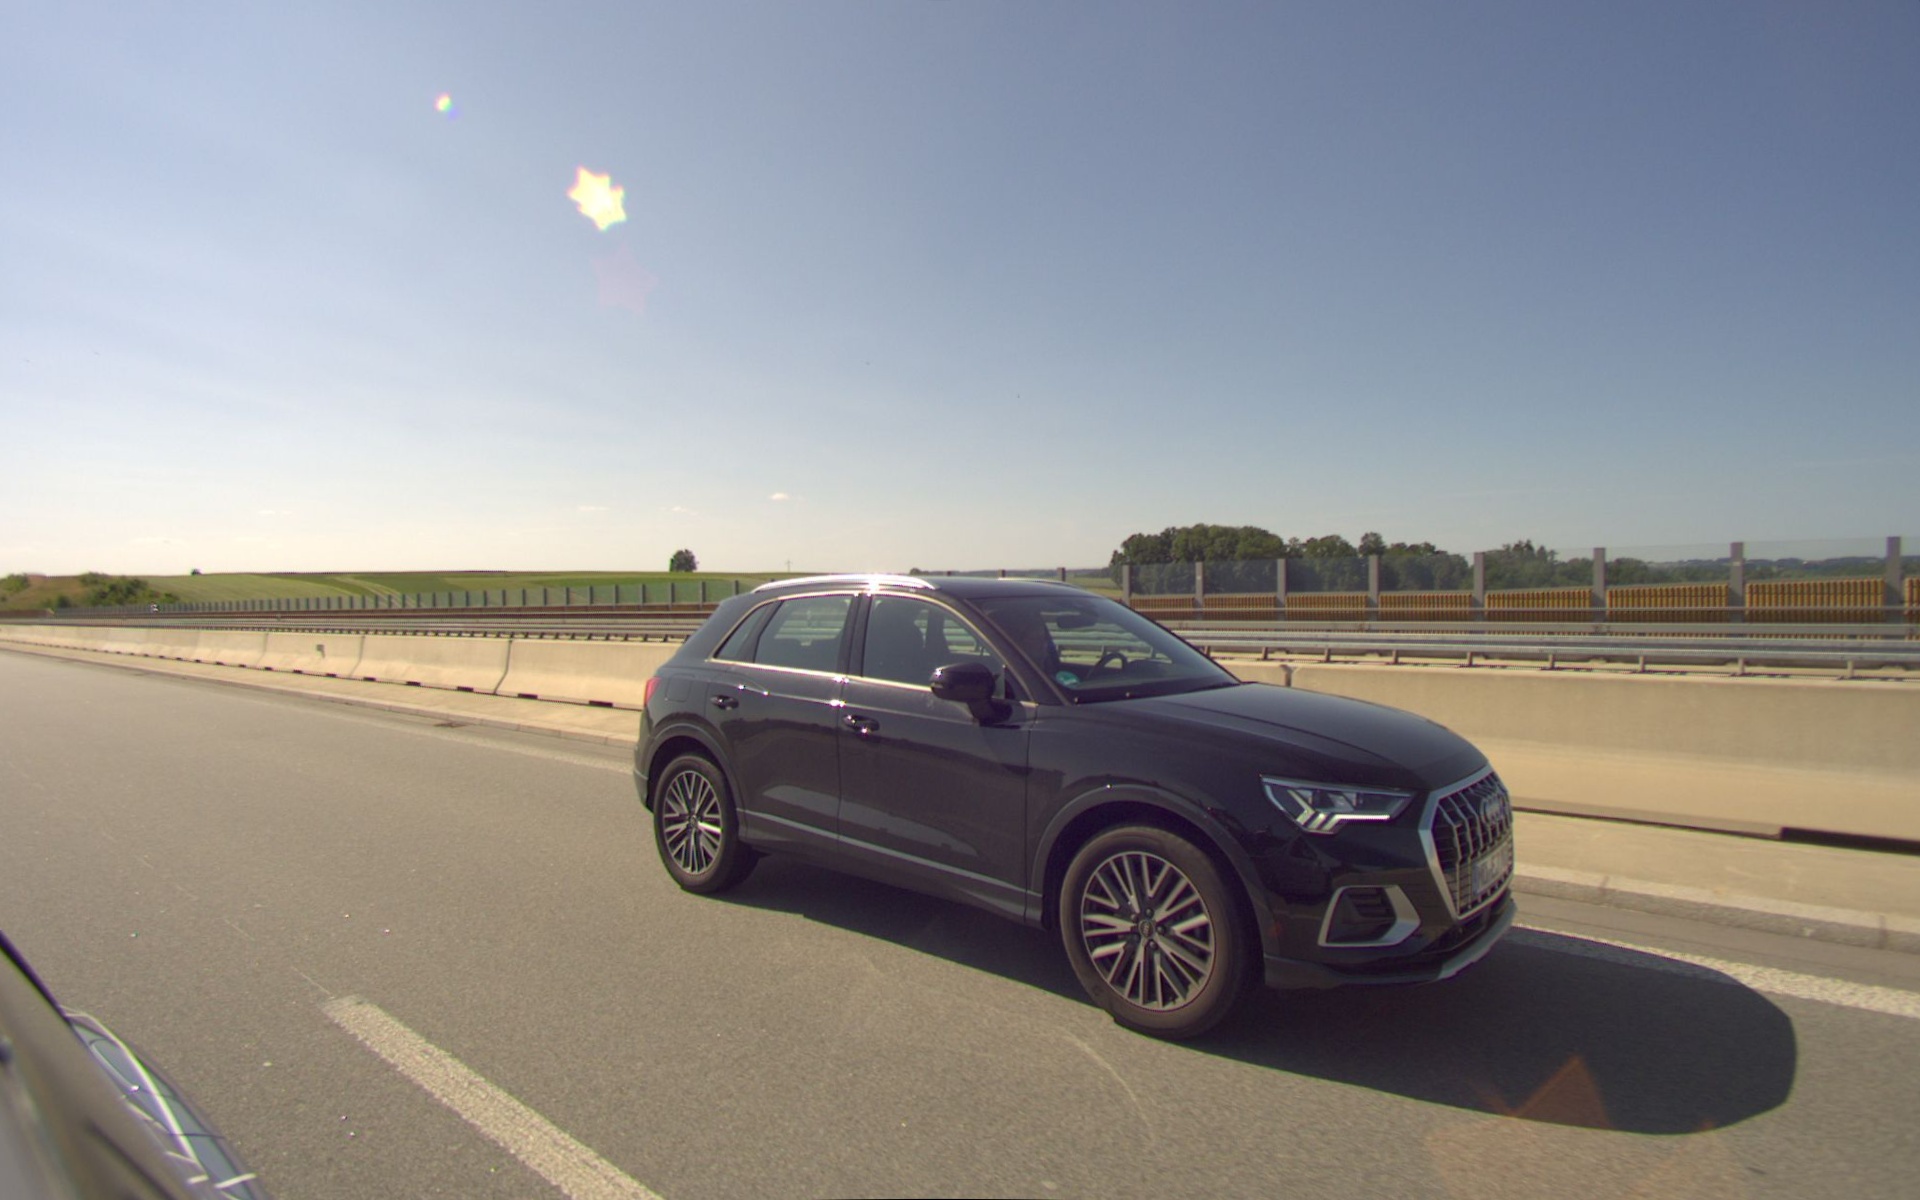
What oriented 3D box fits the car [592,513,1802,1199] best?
[{"bbox_3d":[0.432,0.635,4.637,5.220,1.600,1.704,-1,-1,41],"label":"car"}]
